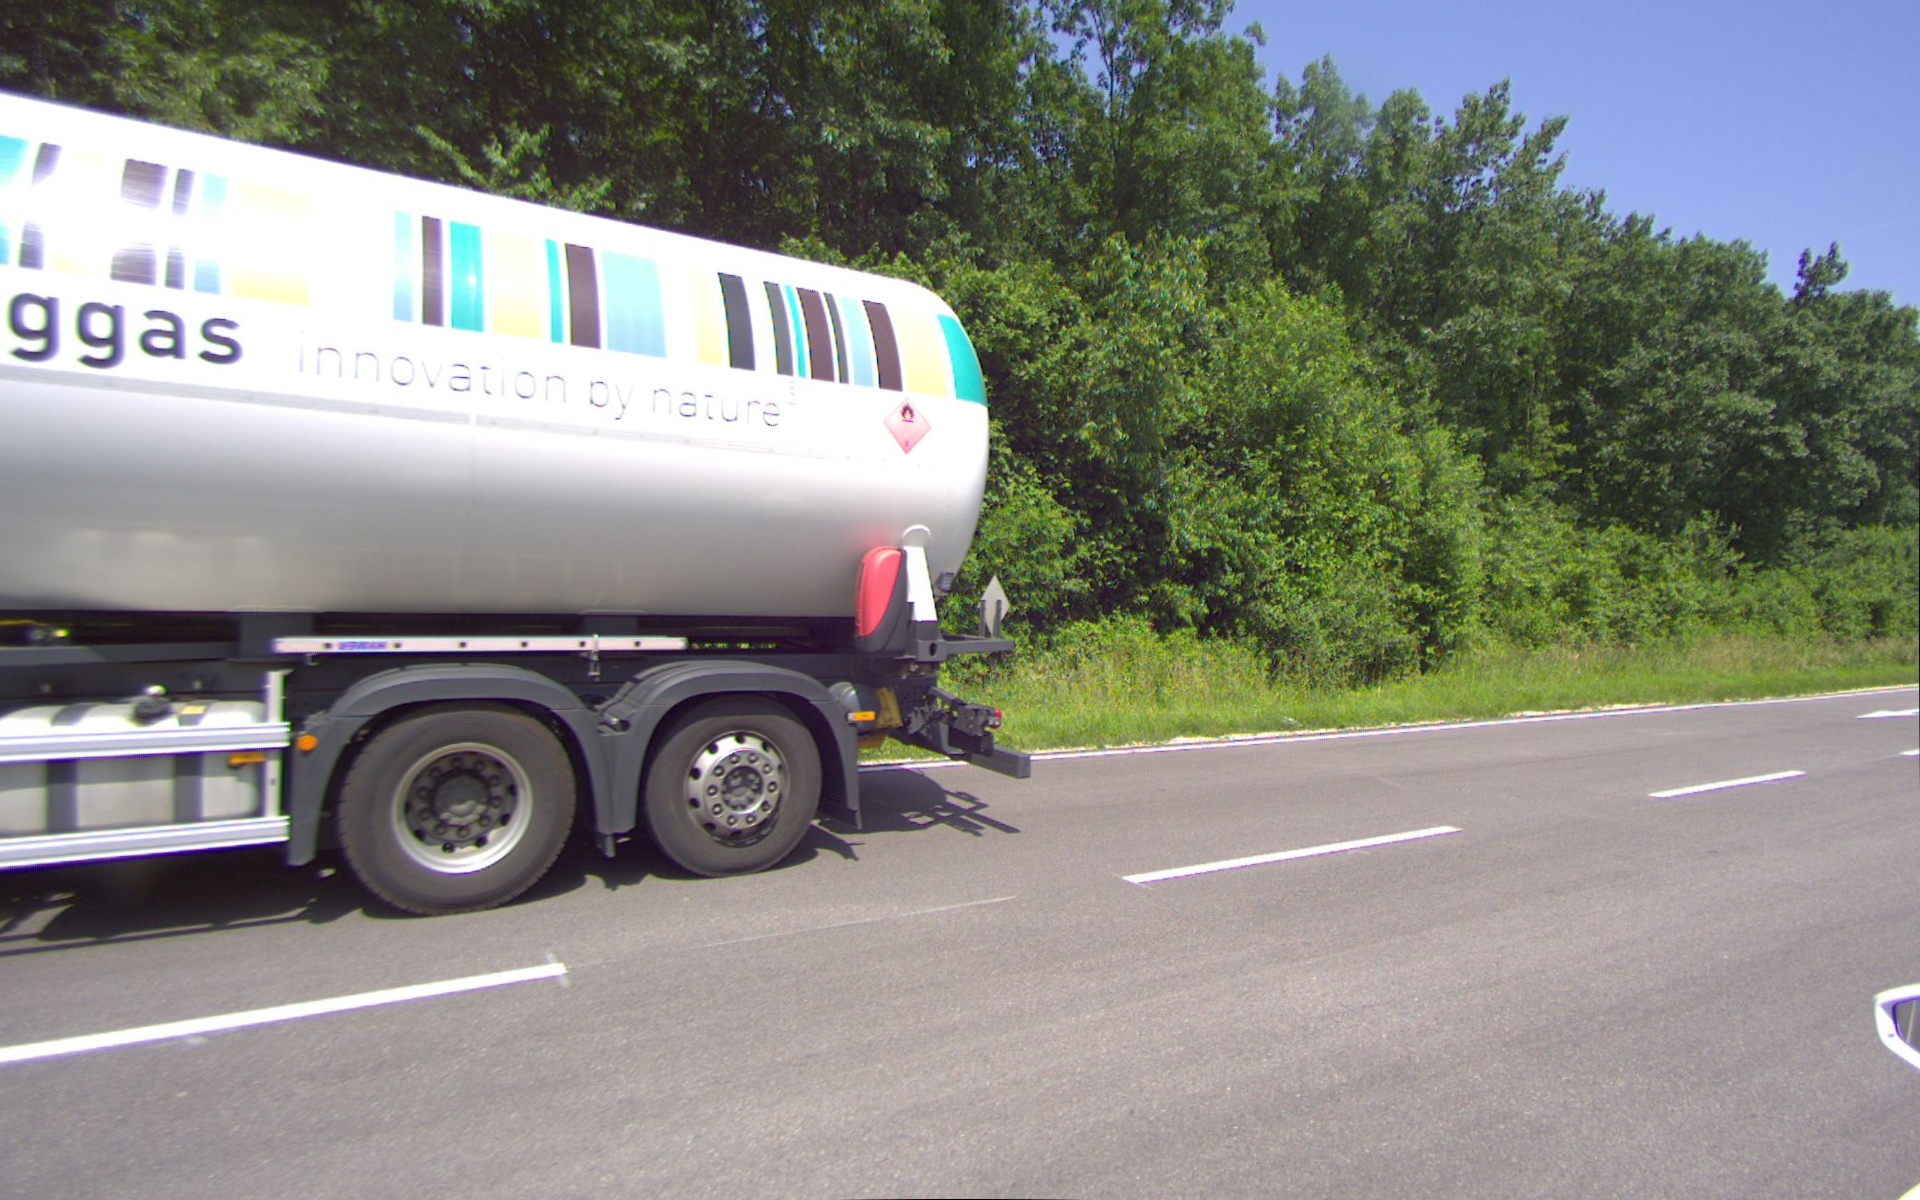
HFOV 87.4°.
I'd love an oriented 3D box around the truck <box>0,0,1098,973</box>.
[{"bbox_3d":[-3.562,-0.454,5.269,8.693,3.720,2.614,2,0,-30],"label":"truck"}]
